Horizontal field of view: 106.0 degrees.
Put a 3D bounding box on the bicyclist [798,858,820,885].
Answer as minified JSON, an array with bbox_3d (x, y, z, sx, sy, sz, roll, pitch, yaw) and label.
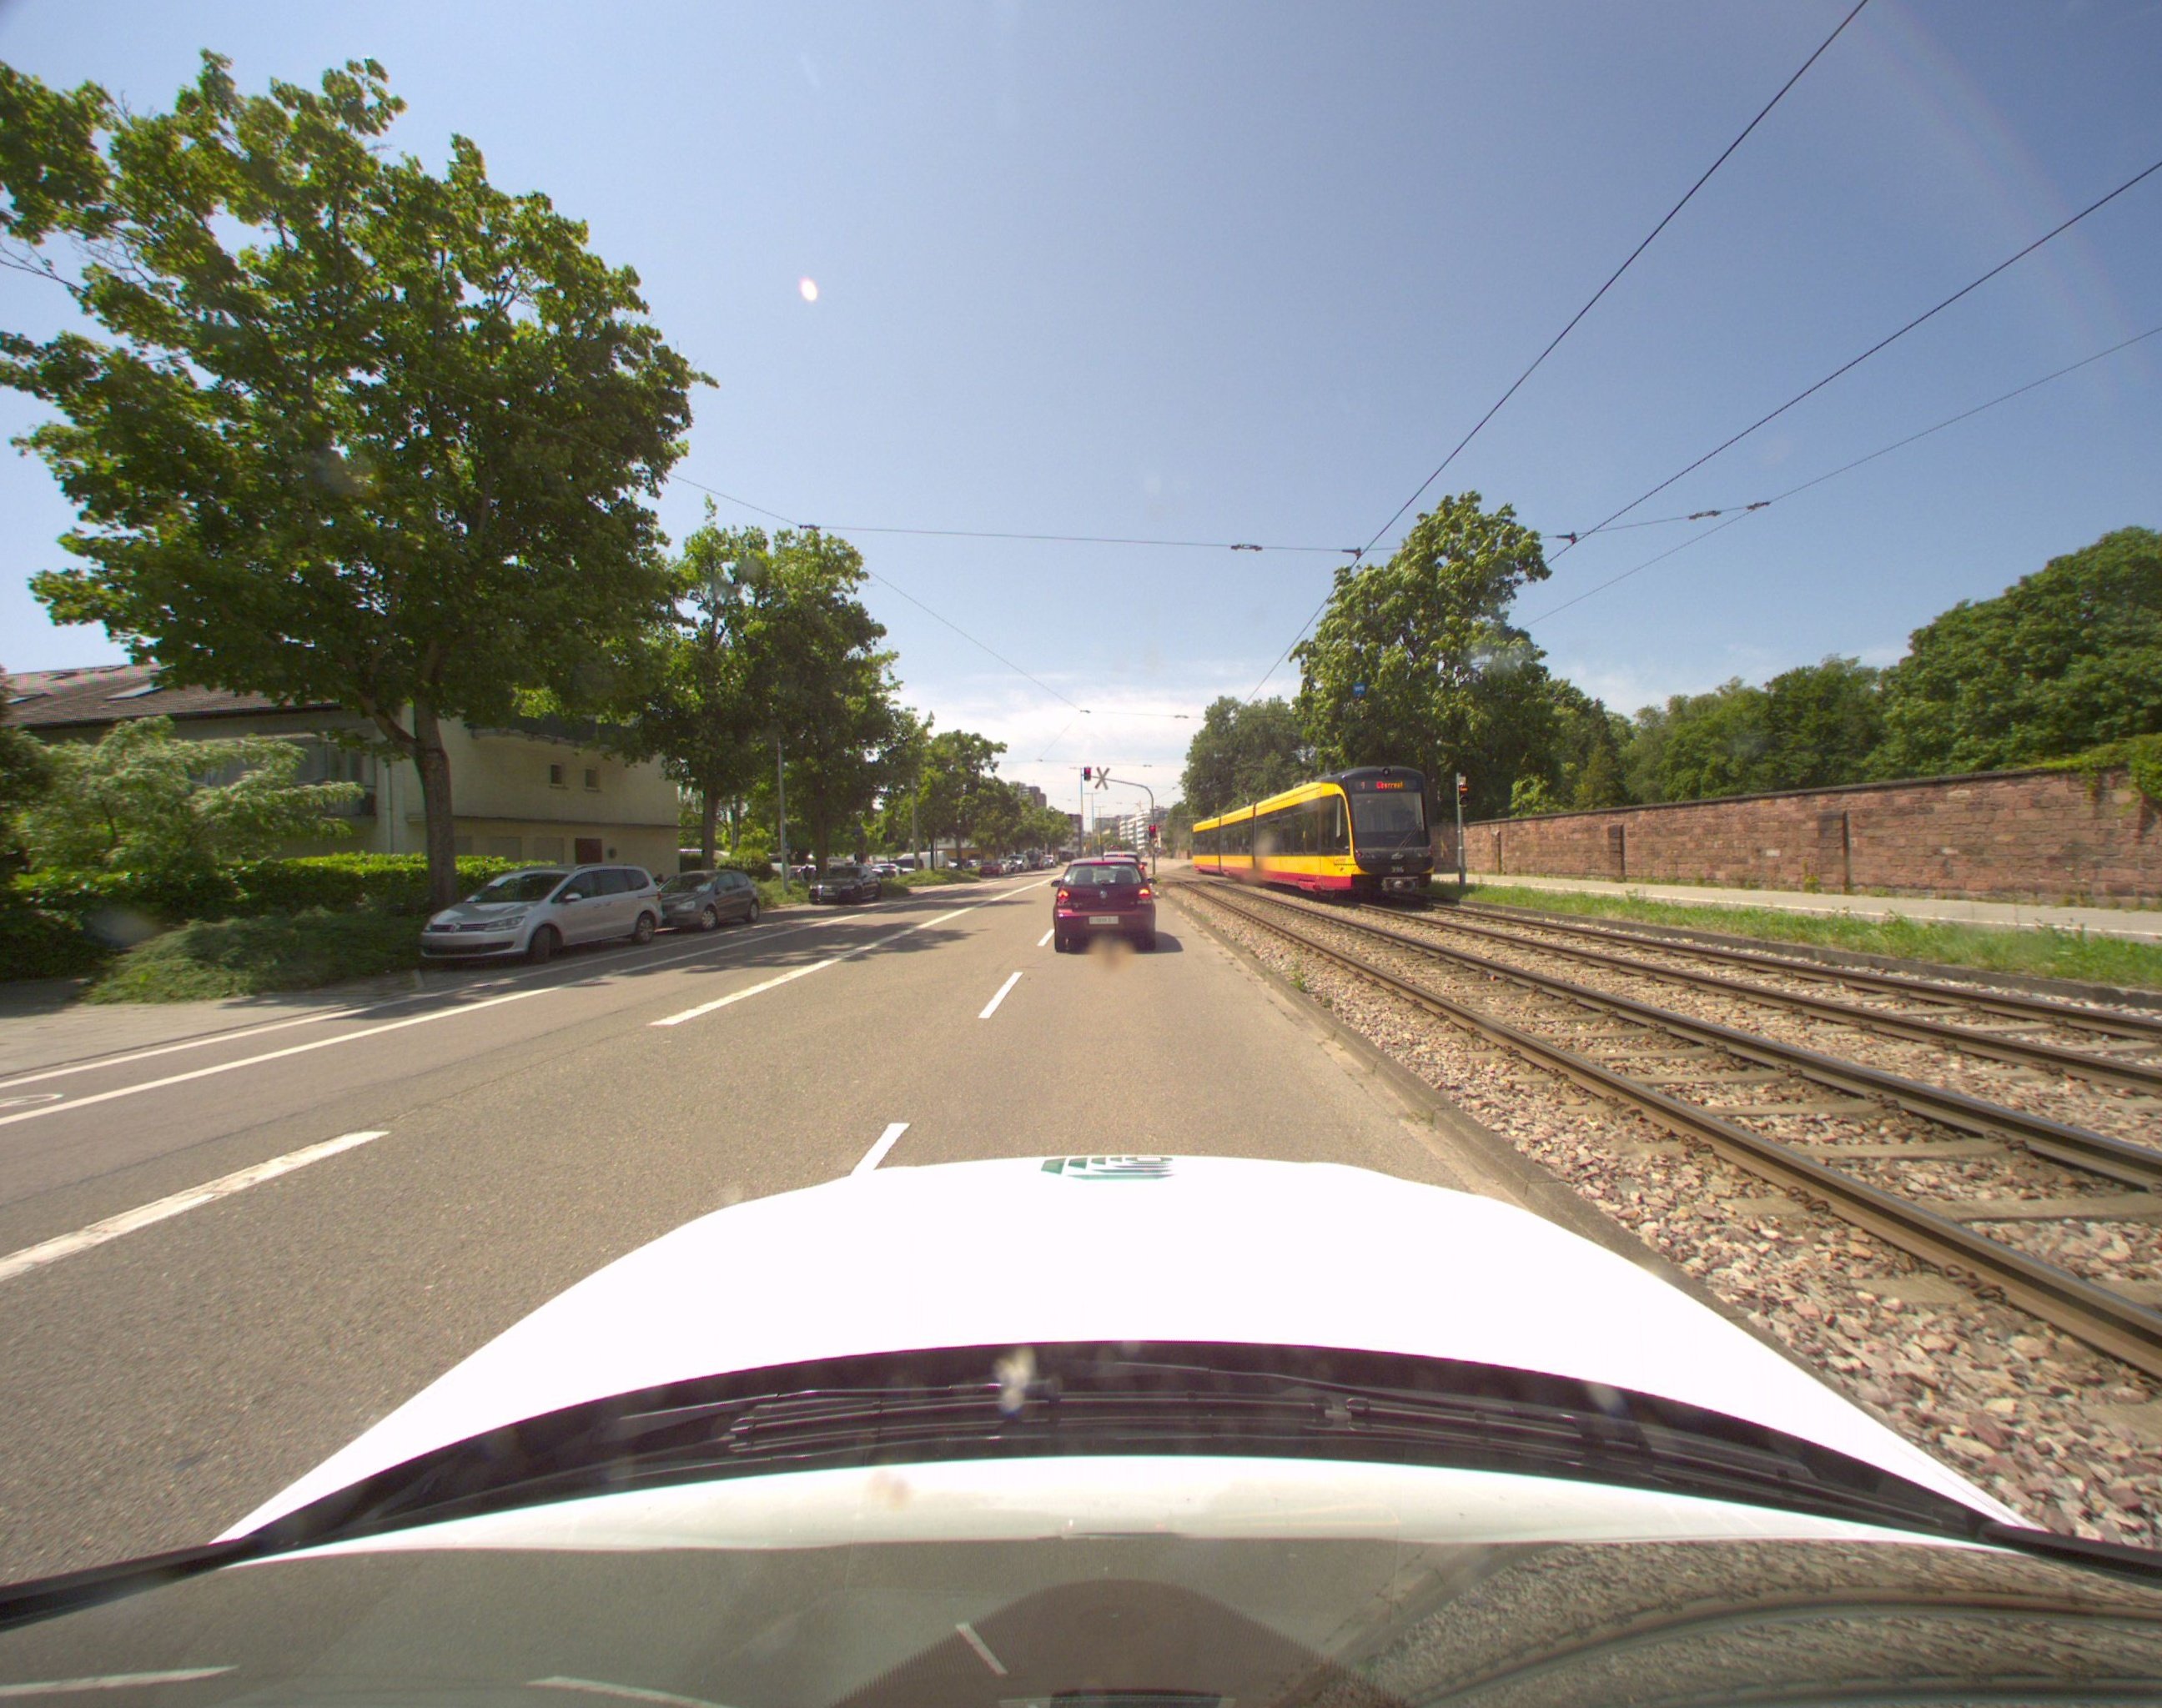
[{"bbox_3d":[-13.991,0.873,41.906,0.805,1.374,0.829,0,-1,5],"label":"bicyclist"}]

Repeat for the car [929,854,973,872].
[{"bbox_3d":[-16.487,1.091,103.498,5.076,2.244,2.380,0,-1,3],"label":"car"}]

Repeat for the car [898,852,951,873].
[{"bbox_3d":[-16.704,0.887,87.237,5.076,2.244,2.380,0,-1,3],"label":"car"}]

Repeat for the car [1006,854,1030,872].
[{"bbox_3d":[-6.690,1.002,86.984,1.774,1.882,4.792,0,-1,5],"label":"car"}]

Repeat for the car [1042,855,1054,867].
[{"bbox_3d":[-4.996,1.112,123.294,1.771,1.828,3.995,0,-1,-3],"label":"car"}]

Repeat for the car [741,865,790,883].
[{"bbox_3d":[-29.956,1.886,77.321,3.982,1.653,1.812,0,-1,-7],"label":"car"}]

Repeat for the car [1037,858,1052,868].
[{"bbox_3d":[-5.202,1.343,117.553,1.606,1.441,4.006,0,-1,6],"label":"car"}]

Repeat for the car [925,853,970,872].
[{"bbox_3d":[-16.550,1.053,100.819,5.076,2.244,2.380,0,-1,3],"label":"car"}]

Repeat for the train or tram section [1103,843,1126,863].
[{"bbox_3d":[6.207,-0.152,153.267,2.736,3.609,12.848,0,0,-5],"label":"train or tram section"}]

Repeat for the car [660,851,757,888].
[{"bbox_3d":[-30.749,1.257,67.339,6.828,2.965,2.364,0,-1,0],"label":"car"}]

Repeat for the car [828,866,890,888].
[{"bbox_3d":[-17.927,1.823,65.829,4.319,1.585,1.917,-2,0,7],"label":"car"}]

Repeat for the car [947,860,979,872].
[{"bbox_3d":[-16.091,1.594,110.886,4.003,1.617,1.818,0,-1,3],"label":"car"}]

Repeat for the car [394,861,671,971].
[{"bbox_3d":[-10.008,1.021,15.462,1.866,1.664,4.783,-1,0,2],"label":"car"}]

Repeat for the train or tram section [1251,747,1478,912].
[{"bbox_3d":[8.057,-0.590,25.761,3.016,3.798,13.097,-2,0,2],"label":"train or tram section"}]

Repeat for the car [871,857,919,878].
[{"bbox_3d":[-17.455,1.281,76.581,3.973,1.746,1.999,-2,0,1],"label":"car"}]

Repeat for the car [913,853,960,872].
[{"bbox_3d":[-17.389,1.015,98.315,5.076,2.244,2.380,0,-1,3],"label":"car"}]

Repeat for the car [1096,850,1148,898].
[{"bbox_3d":[1.468,0.686,30.164,1.770,1.647,4.001,0,0,1],"label":"car"}]

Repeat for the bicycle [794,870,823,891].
[{"bbox_3d":[-14.009,1.353,41.882,0.697,1.030,1.832,0,-1,5],"label":"bicycle"}]

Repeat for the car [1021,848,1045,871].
[{"bbox_3d":[-5.895,0.704,100.020,2.352,2.692,5.311,0,-1,3],"label":"car"}]

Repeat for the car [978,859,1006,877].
[{"bbox_3d":[-7.627,1.206,70.204,1.655,1.497,4.004,0,-1,4],"label":"car"}]

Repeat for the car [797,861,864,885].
[{"bbox_3d":[-18.679,1.429,60.834,4.329,1.585,1.912,-2,0,0],"label":"car"}]

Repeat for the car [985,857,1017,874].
[{"bbox_3d":[-7.497,1.093,76.757,1.965,1.601,4.566,0,-1,7],"label":"car"}]

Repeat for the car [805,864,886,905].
[{"bbox_3d":[-9.290,1.166,32.466,1.812,1.476,4.451,0,0,2],"label":"car"}]

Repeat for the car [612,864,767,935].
[{"bbox_3d":[-9.753,1.071,20.684,1.812,1.564,4.183,0,0,2],"label":"car"}]

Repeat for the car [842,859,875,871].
[{"bbox_3d":[-30.725,1.482,112.458,4.006,1.617,1.816,0,-1,0],"label":"car"}]

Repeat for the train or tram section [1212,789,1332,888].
[{"bbox_3d":[8.597,-0.611,38.722,3.016,3.798,13.097,-2,0,2],"label":"train or tram section"}]

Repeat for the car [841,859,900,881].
[{"bbox_3d":[-17.715,1.342,68.548,4.318,1.585,1.917,-2,0,8],"label":"car"}]

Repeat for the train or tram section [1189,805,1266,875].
[{"bbox_3d":[8.972,-0.784,51.542,3.016,3.798,12.768,-2,0,3],"label":"train or tram section"}]

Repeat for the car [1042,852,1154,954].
[{"bbox_3d":[0.301,0.728,14.177,1.666,1.521,4.001,0,0,1],"label":"car"}]

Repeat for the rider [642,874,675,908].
[{"bbox_3d":[-17.391,1.518,33.554,0.820,1.374,0.814,-2,0,10],"label":"rider"}]
